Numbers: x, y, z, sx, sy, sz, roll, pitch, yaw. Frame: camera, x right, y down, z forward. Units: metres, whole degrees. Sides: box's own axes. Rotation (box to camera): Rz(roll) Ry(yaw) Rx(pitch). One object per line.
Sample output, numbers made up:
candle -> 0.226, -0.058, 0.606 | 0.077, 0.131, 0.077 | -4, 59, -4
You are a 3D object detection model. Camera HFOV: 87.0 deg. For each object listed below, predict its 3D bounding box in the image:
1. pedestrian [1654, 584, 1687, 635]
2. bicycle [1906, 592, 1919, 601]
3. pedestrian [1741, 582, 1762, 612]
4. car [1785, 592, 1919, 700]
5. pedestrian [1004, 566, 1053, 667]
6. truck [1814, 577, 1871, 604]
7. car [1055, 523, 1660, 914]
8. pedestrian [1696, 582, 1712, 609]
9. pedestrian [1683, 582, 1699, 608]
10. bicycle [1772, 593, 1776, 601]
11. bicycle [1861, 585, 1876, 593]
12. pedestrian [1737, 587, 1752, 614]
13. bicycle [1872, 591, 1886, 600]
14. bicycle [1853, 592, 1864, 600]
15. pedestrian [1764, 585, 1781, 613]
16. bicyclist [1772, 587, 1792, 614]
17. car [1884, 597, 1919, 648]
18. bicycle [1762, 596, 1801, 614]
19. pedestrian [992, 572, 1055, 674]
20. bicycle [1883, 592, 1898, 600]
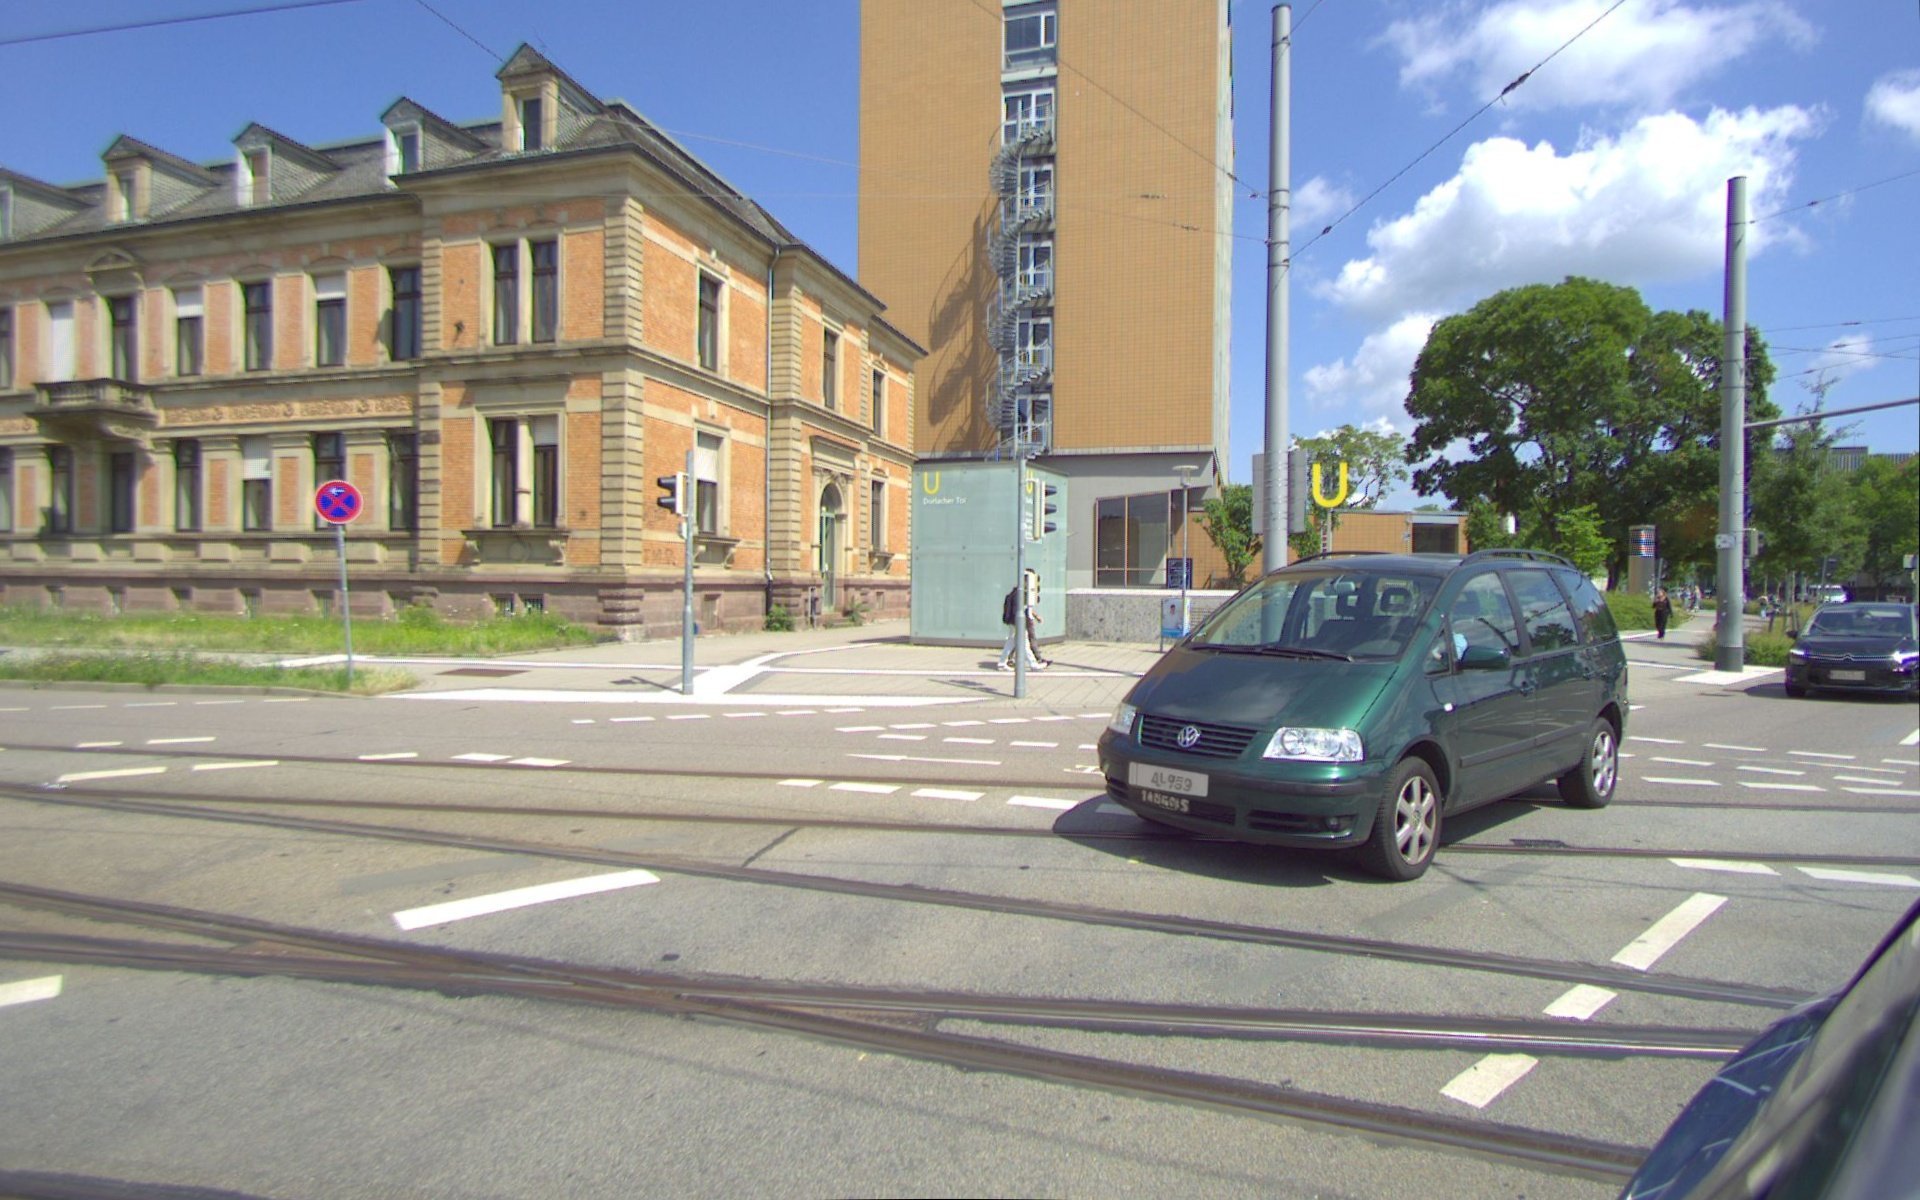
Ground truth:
pedestrian -> 22.891, 0.296, 32.592 | 0.756, 1.609, 0.749 | -1, 1, 44
bicycle -> 115.496, -0.439, 122.365 | 0.391, 1.056, 1.956 | 0, 1, 4
pedestrian -> 50.426, -0.212, 64.505 | 0.750, 1.843, 0.774 | 4, 2, 23
car -> 16.113, 0.713, 17.740 | 4.443, 1.643, 1.860 | -1, 0, -42
pedestrian -> 1.269, 0.279, 18.580 | 0.746, 1.772, 0.861 | 2, 3, 12
truck -> 80.221, -0.852, 92.140 | 2.439, 2.330, 5.762 | -2, 0, 26
car -> 2.799, 0.481, 6.605 | 4.369, 1.744, 1.798 | -1, 1, -40
pedestrian -> 50.654, -0.307, 68.919 | 0.745, 1.825, 0.603 | 2, 1, 28
pedestrian -> 49.834, -0.331, 69.018 | 0.745, 1.774, 0.603 | 2, 1, 28
bicycle -> 118.890, -0.425, 147.734 | 0.381, 1.121, 1.645 | 1, 1, 42
bicycle -> 116.244, -1.383, 129.478 | 0.391, 1.056, 1.759 | 1, 1, 6
pedestrian -> 47.249, 0.028, 60.972 | 0.584, 1.646, 0.720 | -1, 0, 29
bicycle -> 116.047, -0.547, 127.784 | 0.391, 1.056, 1.581 | 1, 1, 6
bicycle -> 116.410, -0.481, 131.136 | 0.371, 1.056, 1.414 | 1, 1, 6
pedestrian -> 48.740, -0.081, 60.705 | 0.651, 1.645, 0.762 | 4, 4, 44
bicyclist -> 52.776, 0.020, 64.979 | 0.823, 1.620, 0.574 | 4, 3, 28
car -> 29.510, 0.658, 30.867 | 1.761, 1.435, 4.293 | -2, 0, 45
bicycle -> 52.751, 0.307, 65.000 | 1.799, 1.062, 0.586 | 4, 3, 28
pedestrian -> 1.114, 0.381, 17.743 | 0.952, 1.677, 0.861 | 2, 3, 12
bicycle -> 115.857, -0.512, 126.066 | 0.391, 1.016, 1.759 | 1, 1, 6
